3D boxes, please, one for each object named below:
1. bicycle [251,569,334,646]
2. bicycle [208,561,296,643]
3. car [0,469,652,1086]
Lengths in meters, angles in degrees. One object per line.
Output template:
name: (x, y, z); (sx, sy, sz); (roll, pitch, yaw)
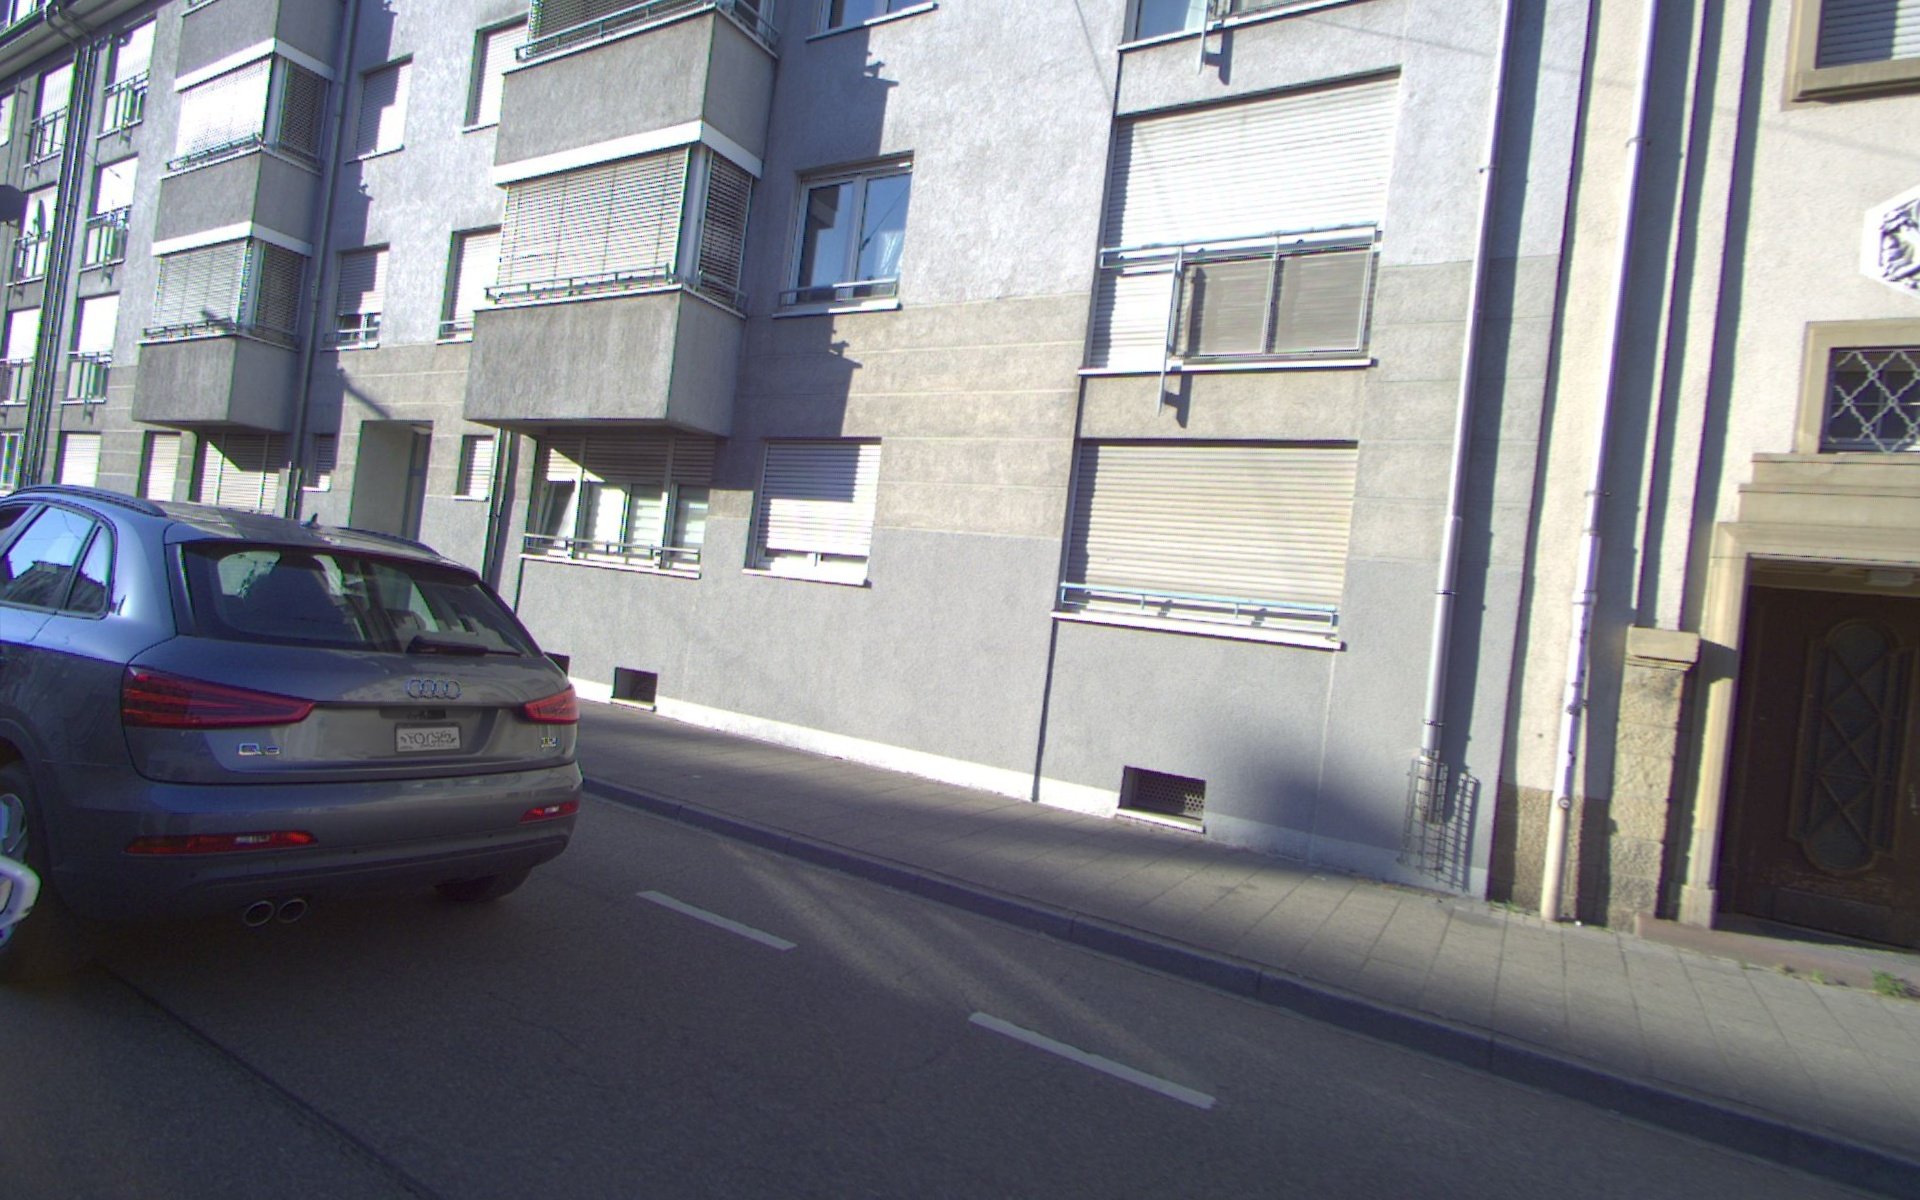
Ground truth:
bicycle: (-9.939, 0.099, 14.954); (1.701, 0.984, 0.278); (6, 2, 31)
bicycle: (-10.469, 0.016, 14.849); (1.701, 1.045, 0.360); (6, 2, 31)
car: (-3.515, 0.376, 4.435); (4.000, 1.606, 1.770); (6, -1, 31)
